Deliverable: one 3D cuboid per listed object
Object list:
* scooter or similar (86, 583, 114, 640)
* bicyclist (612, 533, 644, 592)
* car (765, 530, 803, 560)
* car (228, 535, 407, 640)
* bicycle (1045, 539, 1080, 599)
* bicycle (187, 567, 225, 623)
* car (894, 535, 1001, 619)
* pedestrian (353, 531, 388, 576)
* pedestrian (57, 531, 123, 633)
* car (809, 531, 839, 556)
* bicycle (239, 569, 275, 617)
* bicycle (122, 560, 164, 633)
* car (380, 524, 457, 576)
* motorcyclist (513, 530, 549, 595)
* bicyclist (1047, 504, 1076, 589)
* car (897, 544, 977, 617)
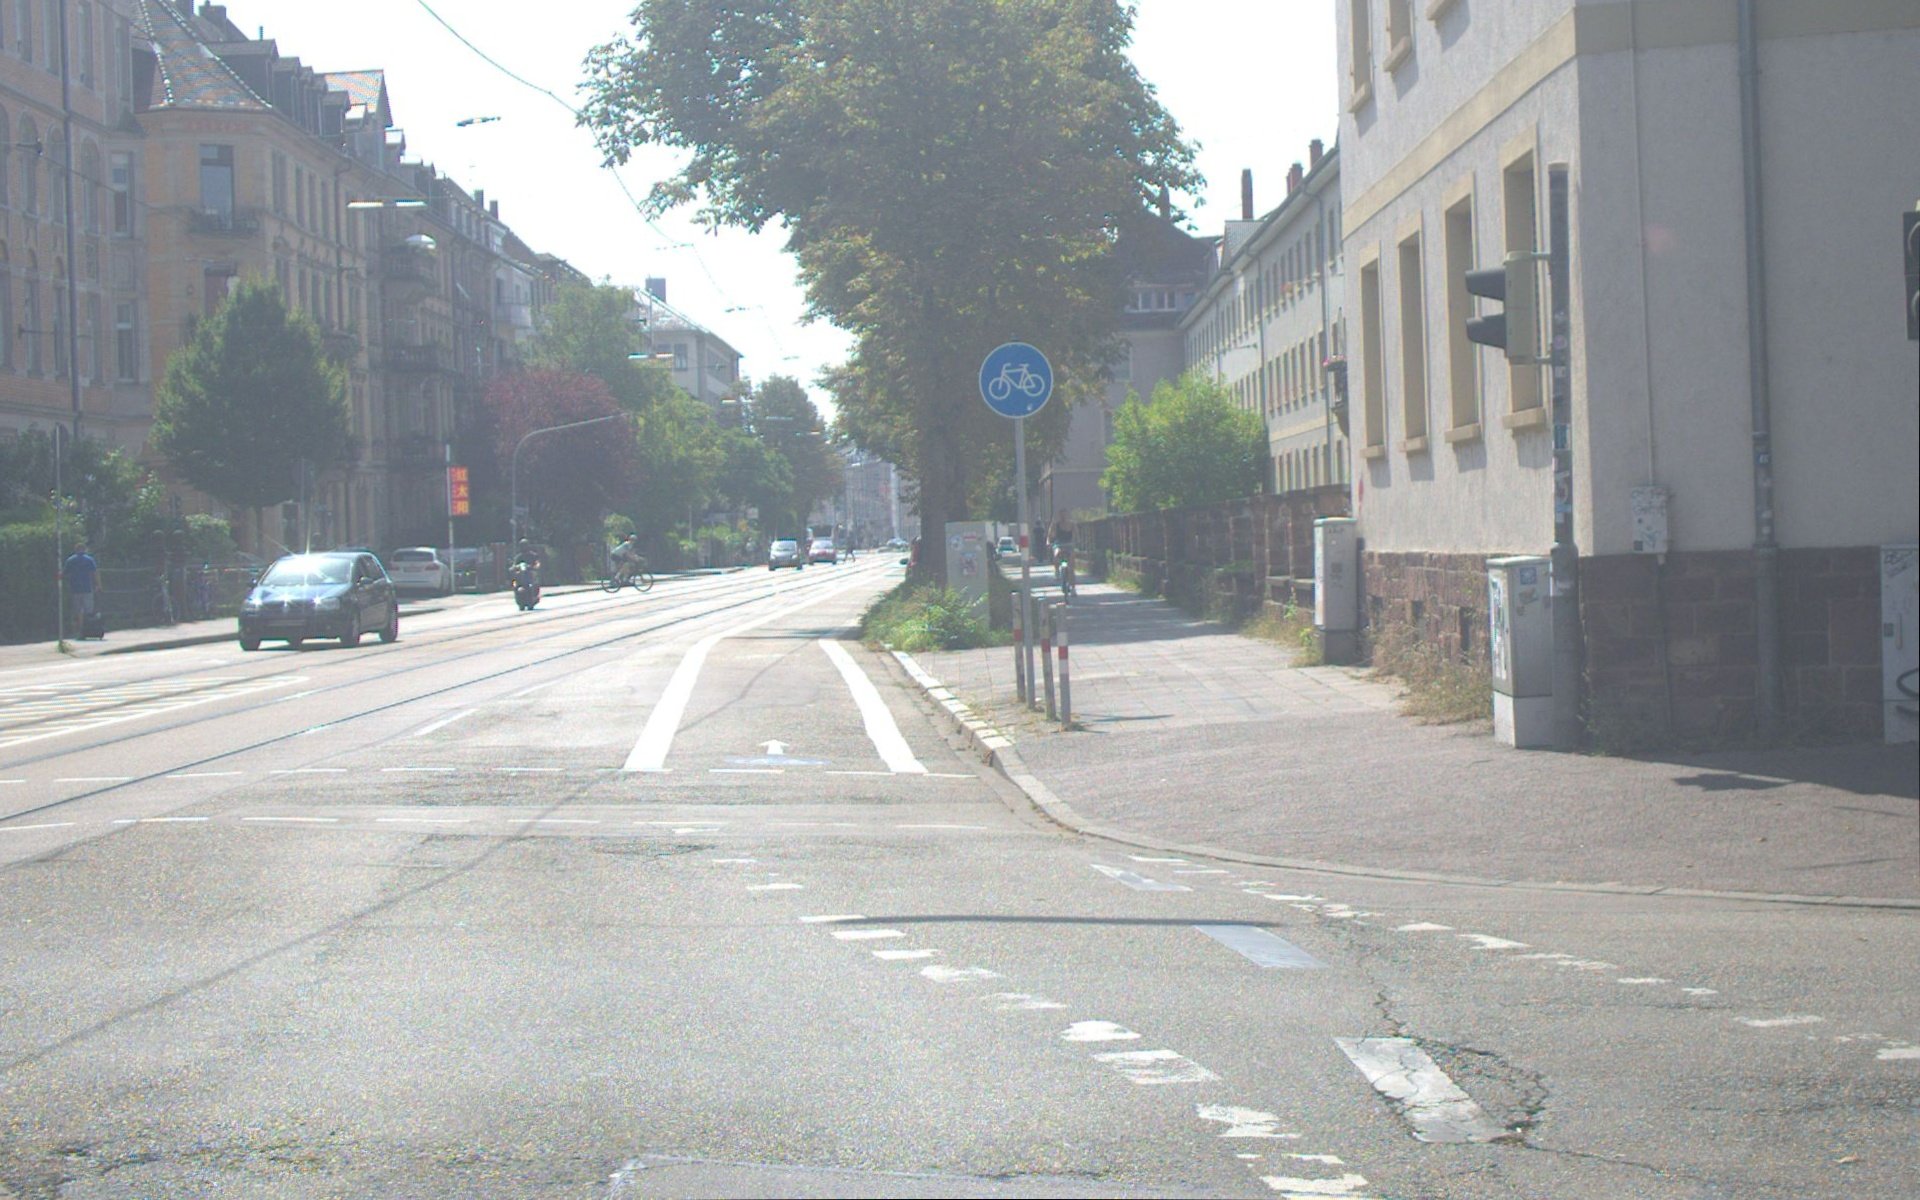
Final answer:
[{"bbox_3d":[-14.928,0.195,59.703,0.400,0.979,0.585,0,0,-8],"label":"scooter or similar"},{"bbox_3d":[-10.478,-1.176,108.445,0.952,1.830,1.129,-2,0,-7],"label":"bicyclist"},{"bbox_3d":[-9.439,-2.974,184.467,1.827,1.535,4.000,-2,1,0],"label":"car"},{"bbox_3d":[-9.934,-0.231,53.460,1.727,1.428,4.177,2,2,3],"label":"car"},{"bbox_3d":[1.827,-0.558,61.359,0.440,1.043,1.829,-2,1,-3],"label":"bicycle"},{"bbox_3d":[-15.950,-0.105,72.716,0.390,1.144,1.582,-1,1,1],"label":"bicycle"},{"bbox_3d":[-0.220,-0.469,67.347,1.617,1.525,3.498,-3,1,7],"label":"car"},{"bbox_3d":[-20.248,-1.609,118.143,0.883,1.506,0.870,-2,1,-30],"label":"pedestrian"},{"bbox_3d":[-15.256,-0.321,60.290,0.883,1.750,0.870,-2,1,0],"label":"pedestrian"},{"bbox_3d":[-8.592,-3.589,217.267,1.732,1.485,4.000,-2,1,0],"label":"car"},{"bbox_3d":[-15.996,-0.163,78.264,0.390,1.035,1.833,-1,1,1],"label":"bicycle"},{"bbox_3d":[-16.183,-0.081,68.152,0.390,1.401,1.582,-1,1,1],"label":"bicycle"},{"bbox_3d":[-17.506,-1.607,111.374,1.993,1.589,4.360,-2,1,-3],"label":"car"},{"bbox_3d":[-10.149,-0.896,81.308,0.689,1.506,0.773,-2,1,1],"label":"motorcyclist"},{"bbox_3d":[1.814,-0.955,61.407,0.437,1.507,0.472,-2,1,-3],"label":"bicyclist"},{"bbox_3d":[-0.481,-0.457,75.158,1.617,1.472,4.039,-3,1,1],"label":"car"}]
